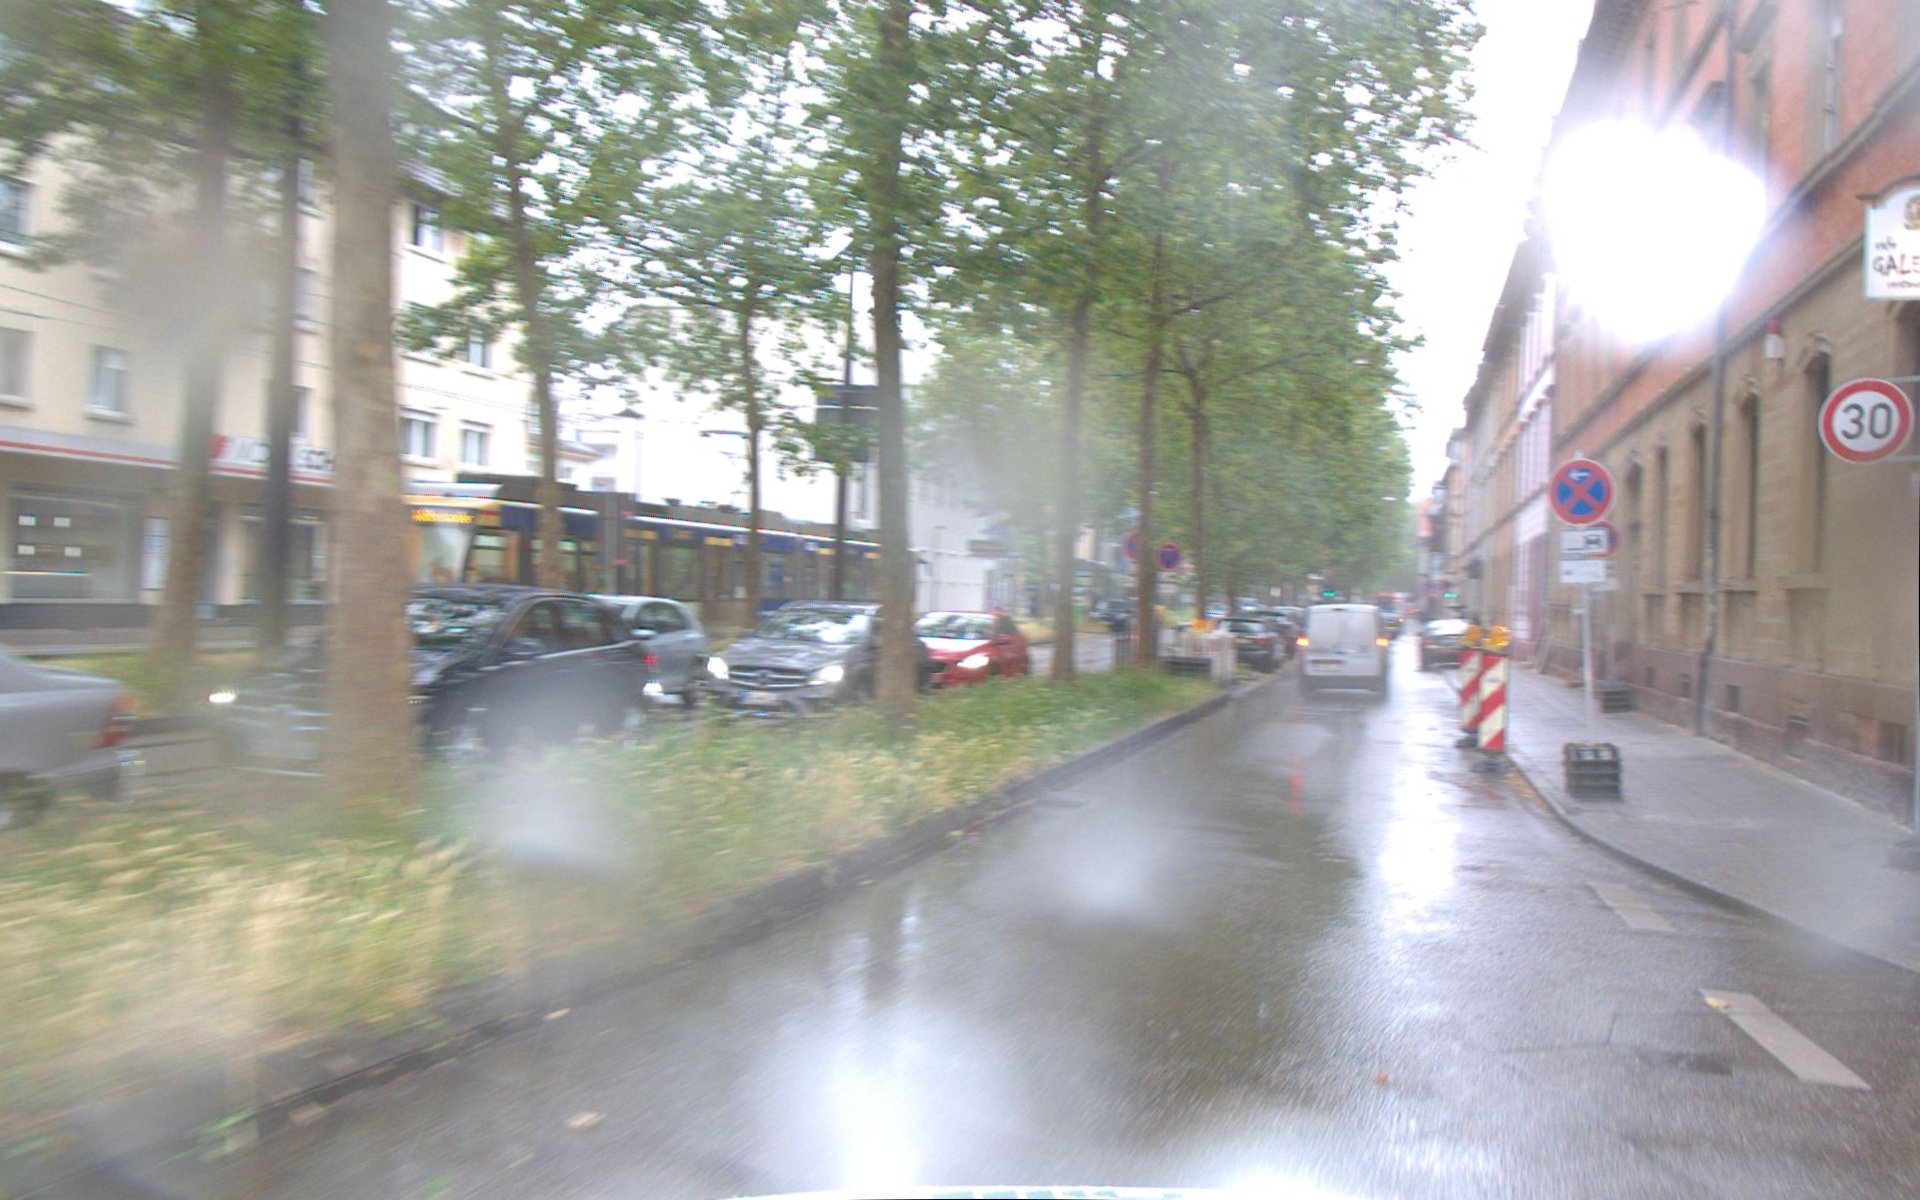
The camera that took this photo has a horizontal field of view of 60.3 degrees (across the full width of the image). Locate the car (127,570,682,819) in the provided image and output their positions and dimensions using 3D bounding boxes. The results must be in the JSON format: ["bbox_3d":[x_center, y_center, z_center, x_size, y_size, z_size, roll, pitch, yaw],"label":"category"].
[{"bbox_3d":[-4.019,0.610,12.971,1.817,1.511,4.643,2,0,15],"label":"car"}]

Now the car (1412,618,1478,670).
[{"bbox_3d":[14.488,1.285,49.303,1.775,1.446,4.699,-1,-1,17],"label":"car"}]

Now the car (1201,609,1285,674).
[{"bbox_3d":[7.572,1.075,43.880,1.790,1.529,4.617,3,0,14],"label":"car"}]

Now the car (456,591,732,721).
[{"bbox_3d":[-4.559,0.658,21.281,1.704,1.422,4.133,2,0,15],"label":"car"}]

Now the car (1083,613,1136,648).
[{"bbox_3d":[6.717,1.355,73.997,1.702,1.366,3.758,5,1,14],"label":"car"}]

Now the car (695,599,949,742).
[{"bbox_3d":[-1.573,0.794,20.618,1.704,1.506,4.435,2,0,15],"label":"car"}]

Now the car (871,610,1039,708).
[{"bbox_3d":[0.013,0.920,27.500,1.704,1.422,4.236,2,0,15],"label":"car"}]

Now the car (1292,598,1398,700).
[{"bbox_3d":[7.636,0.972,33.019,1.863,1.828,4.116,2,-1,12],"label":"car"}]

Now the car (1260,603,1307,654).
[{"bbox_3d":[12.197,1.046,62.251,1.589,1.711,3.663,3,1,12],"label":"car"}]

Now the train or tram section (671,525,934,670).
[{"bbox_3d":[-4.192,0.219,49.678,3.040,3.621,14.684,2,-2,14],"label":"train or tram section"}]

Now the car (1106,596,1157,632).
[{"bbox_3d":[8.529,0.672,81.990,1.951,1.641,4.003,3,0,14],"label":"car"}]

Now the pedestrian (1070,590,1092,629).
[{"bbox_3d":[5.465,0.416,74.757,0.800,1.733,0.873,2,0,14],"label":"pedestrian"}]

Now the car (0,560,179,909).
[{"bbox_3d":[-5.271,0.551,6.251,1.698,1.515,4.504,2,0,13],"label":"car"}]

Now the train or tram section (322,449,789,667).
[{"bbox_3d":[-7.725,-0.459,35.467,3.040,3.621,14.586,2,-2,14],"label":"train or tram section"}]

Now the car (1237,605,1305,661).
[{"bbox_3d":[9.924,1.030,52.577,1.663,1.664,4.357,2,0,16],"label":"car"}]
